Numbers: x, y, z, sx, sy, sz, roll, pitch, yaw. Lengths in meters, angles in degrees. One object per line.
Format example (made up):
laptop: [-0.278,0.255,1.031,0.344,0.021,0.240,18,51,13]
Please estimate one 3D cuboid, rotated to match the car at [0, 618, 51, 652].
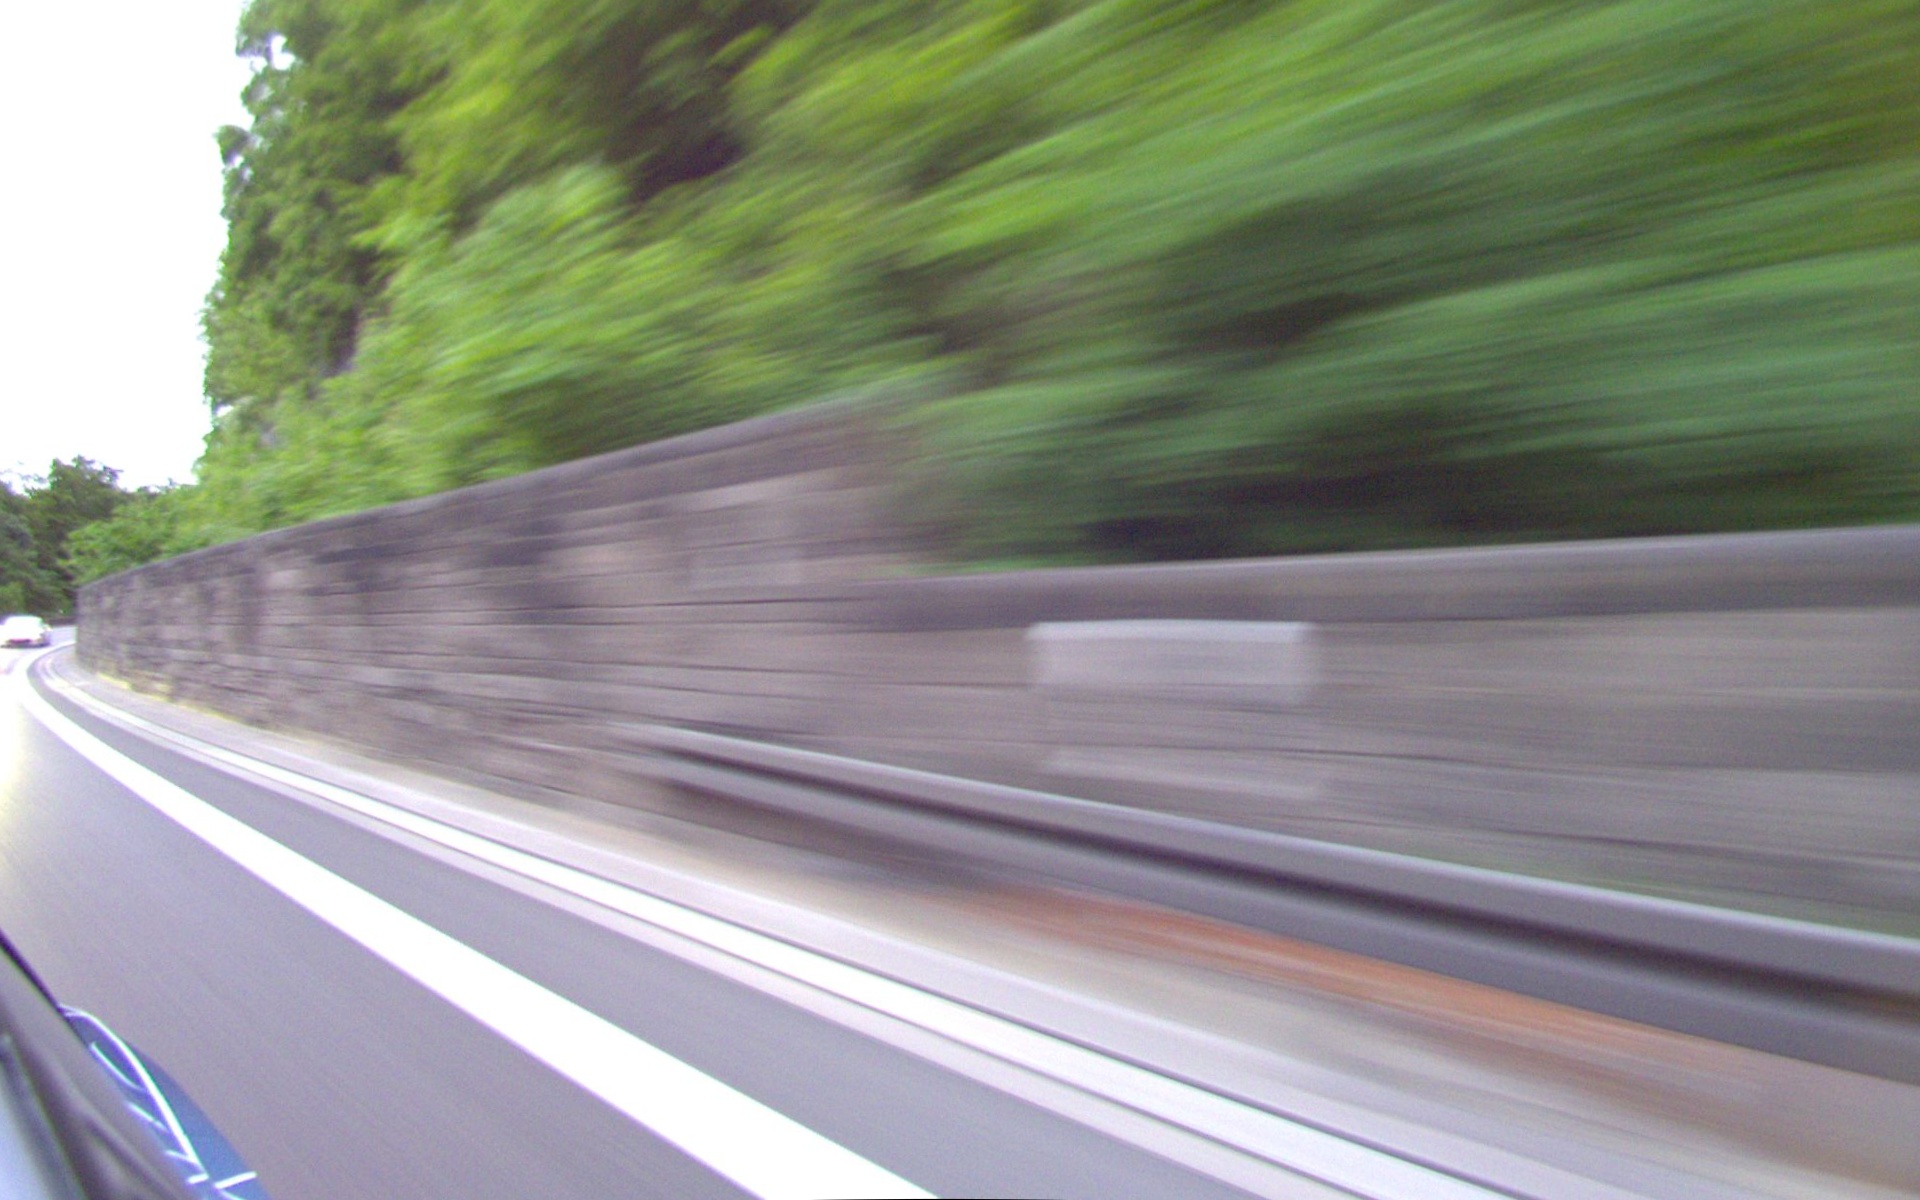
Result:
car: [-46.756,1.706,50.207,1.967,1.519,4.010,-2,1,-35]
